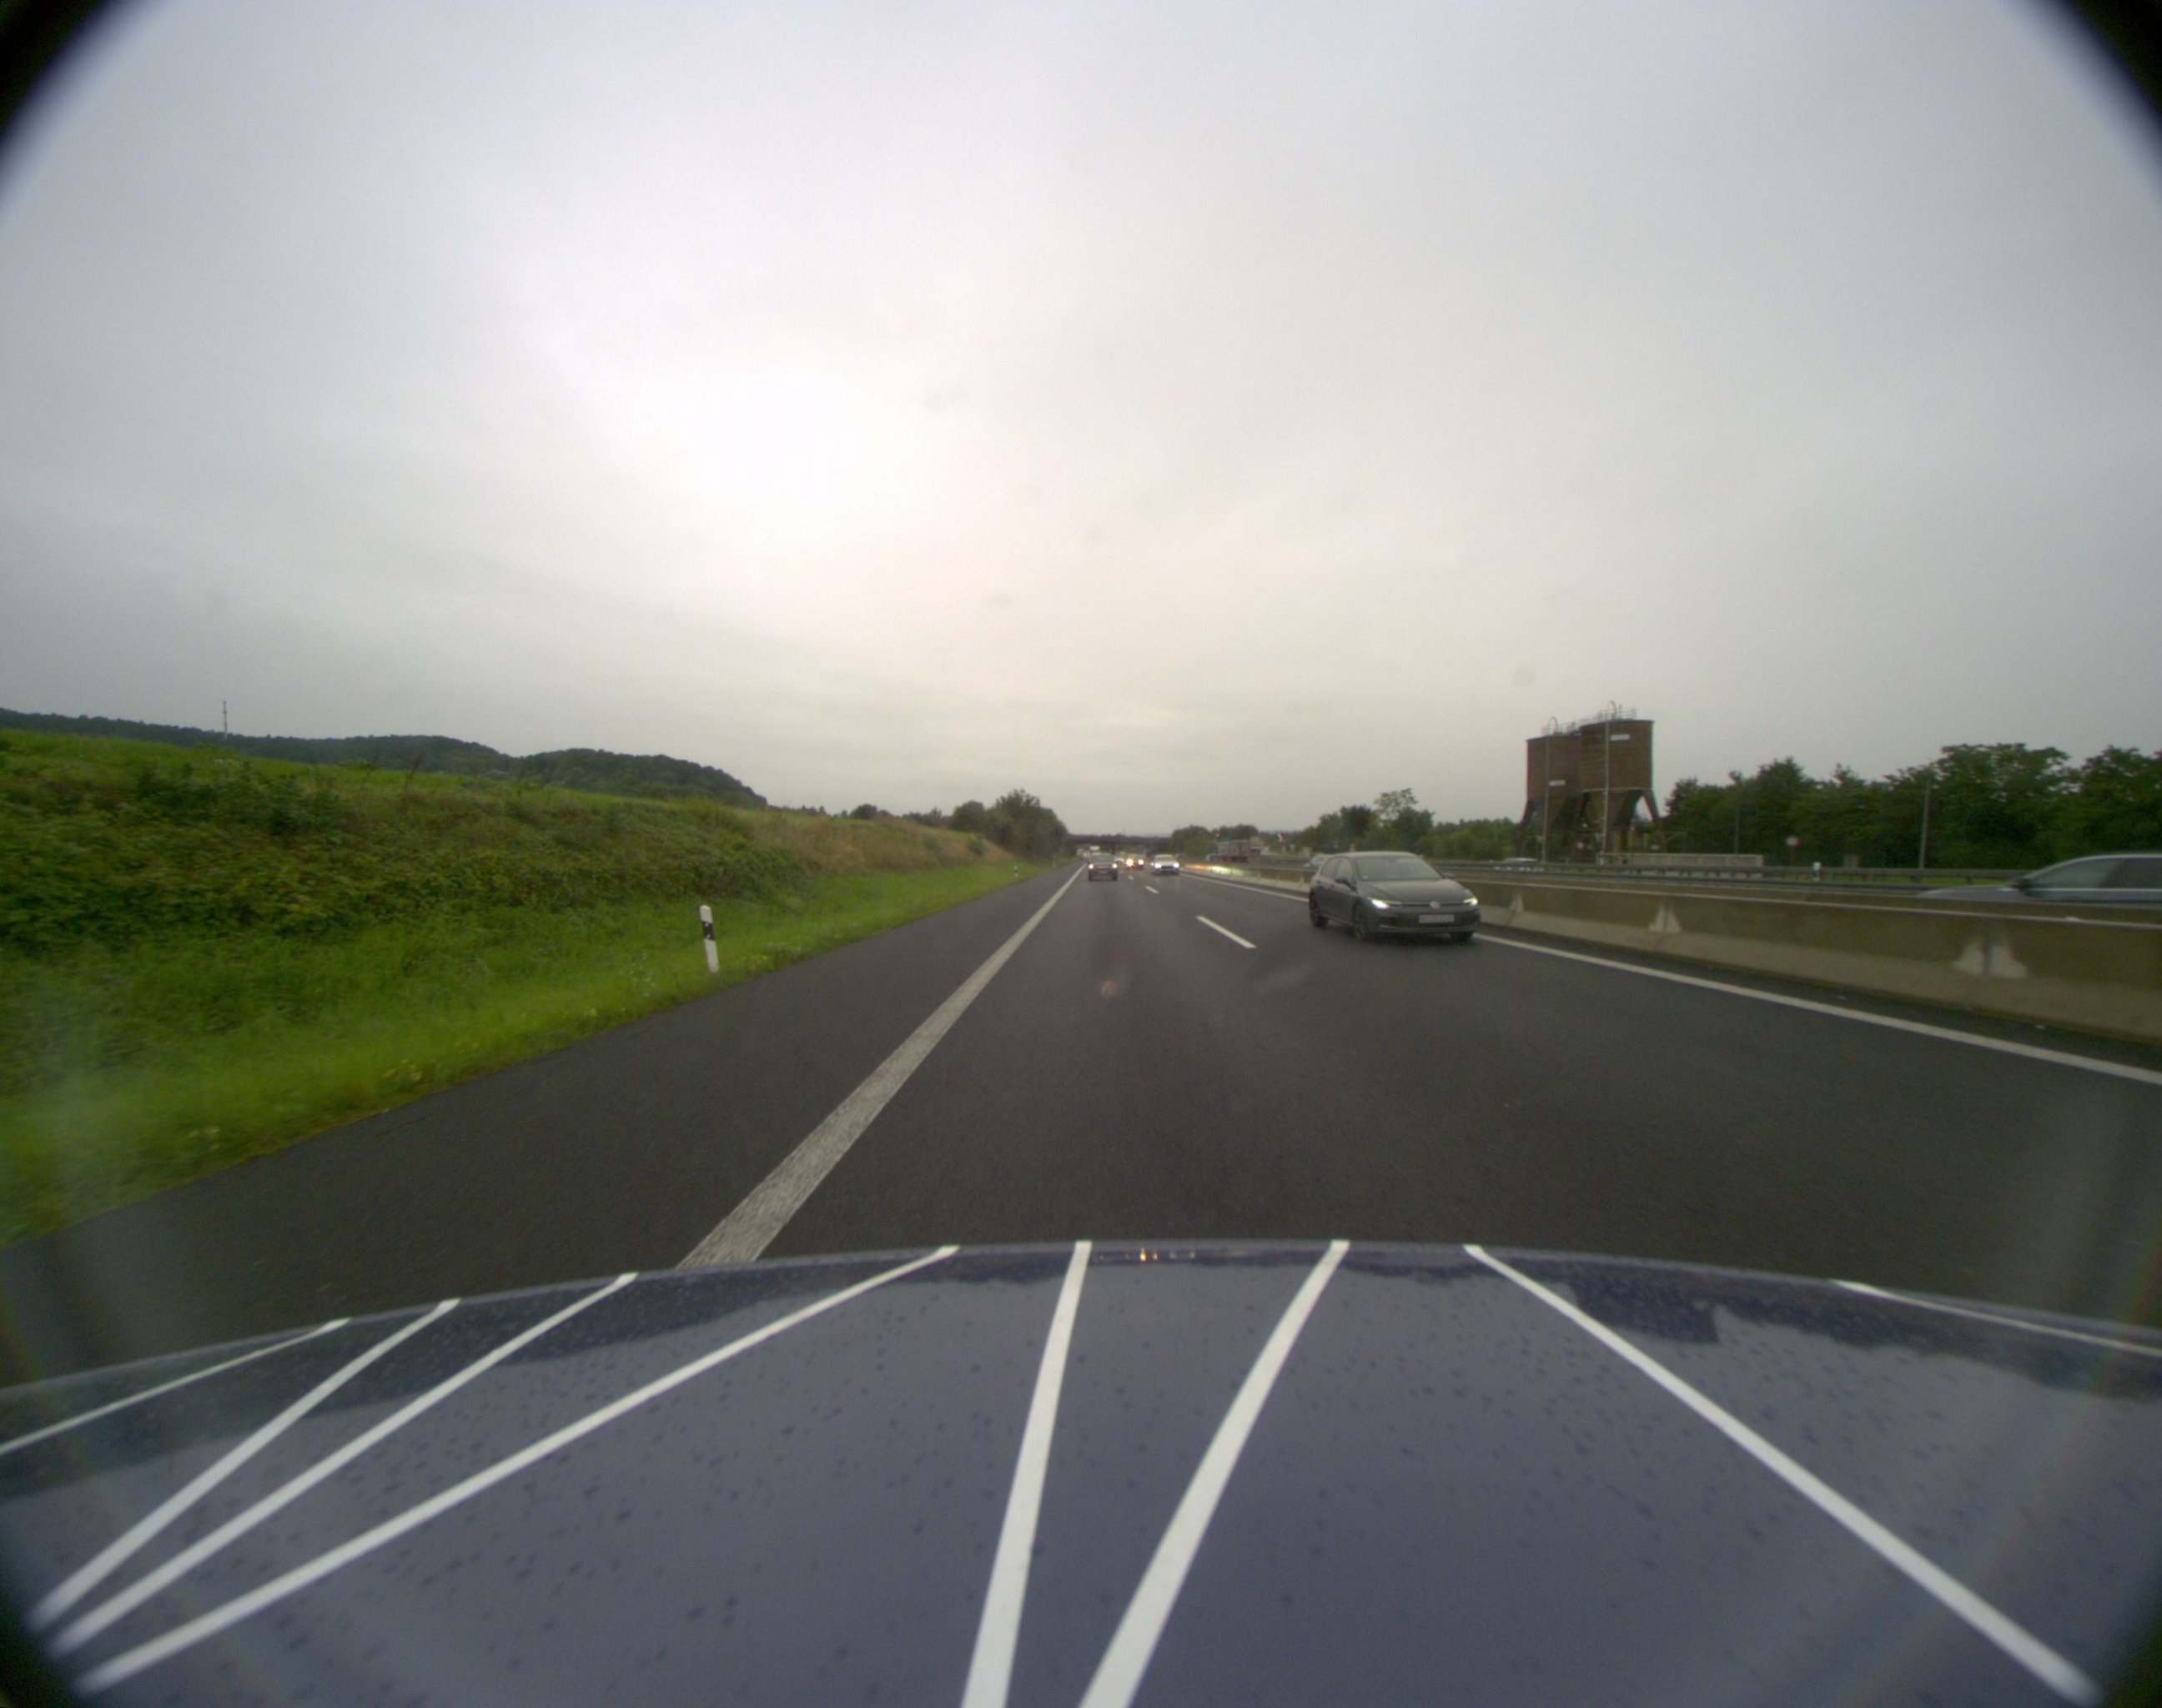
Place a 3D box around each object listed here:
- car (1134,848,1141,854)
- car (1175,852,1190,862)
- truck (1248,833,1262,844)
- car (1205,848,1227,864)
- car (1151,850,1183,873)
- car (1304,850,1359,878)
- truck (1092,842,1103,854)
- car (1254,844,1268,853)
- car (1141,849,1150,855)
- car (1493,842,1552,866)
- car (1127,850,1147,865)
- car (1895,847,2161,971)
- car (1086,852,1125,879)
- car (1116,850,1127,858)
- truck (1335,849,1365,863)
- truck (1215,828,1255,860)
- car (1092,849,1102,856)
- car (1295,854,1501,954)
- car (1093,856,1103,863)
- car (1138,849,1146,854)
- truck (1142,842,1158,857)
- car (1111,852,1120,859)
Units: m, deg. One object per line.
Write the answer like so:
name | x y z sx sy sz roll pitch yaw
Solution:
car | 18.158 -0.968 244.070 1.911 1.649 3.999 -1 0 -1
car | 15.540 0.440 116.446 1.785 1.622 3.999 0 0 -1
truck | 51.283 -4.504 223.789 3.251 3.197 7.608 -2 0 9
car | 14.642 0.183 82.416 1.717 1.586 4.000 -1 0 1
car | 6.355 0.518 56.310 1.998 1.582 4.817 -2 0 3
car | 13.978 0.540 42.546 1.802 1.499 4.000 0 0 1
truck | 4.508 -1.605 205.056 2.728 3.098 7.960 -3 0 1
car | 43.067 -1.253 181.960 1.999 2.002 3.998 -2 1 -3
car | 16.708 -0.487 197.590 1.911 1.649 3.999 -1 0 -1
car | 34.063 0.002 58.775 1.998 1.751 4.505 -1 0 1
car | 5.689 0.374 77.746 1.835 1.417 4.368 -3 0 2
car | 13.060 0.607 9.112 1.861 1.383 4.444 -1 0 0
car | 1.562 0.687 47.415 2.242 1.565 4.817 -2 0 2
car | 7.859 -0.004 146.096 1.941 1.341 4.001 -3 0 2
truck | 35.424 0.264 100.230 1.999 1.636 5.405 -3 0 -1
truck | 19.239 -1.240 95.474 2.976 3.689 11.910 -2 1 2
car | 3.267 -0.251 157.752 1.941 1.341 4.000 -3 0 1
car | 5.357 0.753 13.546 1.835 1.417 4.367 -2 0 0
car | 3.305 1.028 150.685 1.941 1.341 4.000 -3 0 1
car | 17.673 -0.733 219.687 1.911 1.649 3.999 -1 0 -1
truck | 22.455 -1.499 246.641 3.787 4.451 12.891 -1 0 -1
car | 7.895 0.352 172.875 1.941 1.341 4.000 -3 0 1
